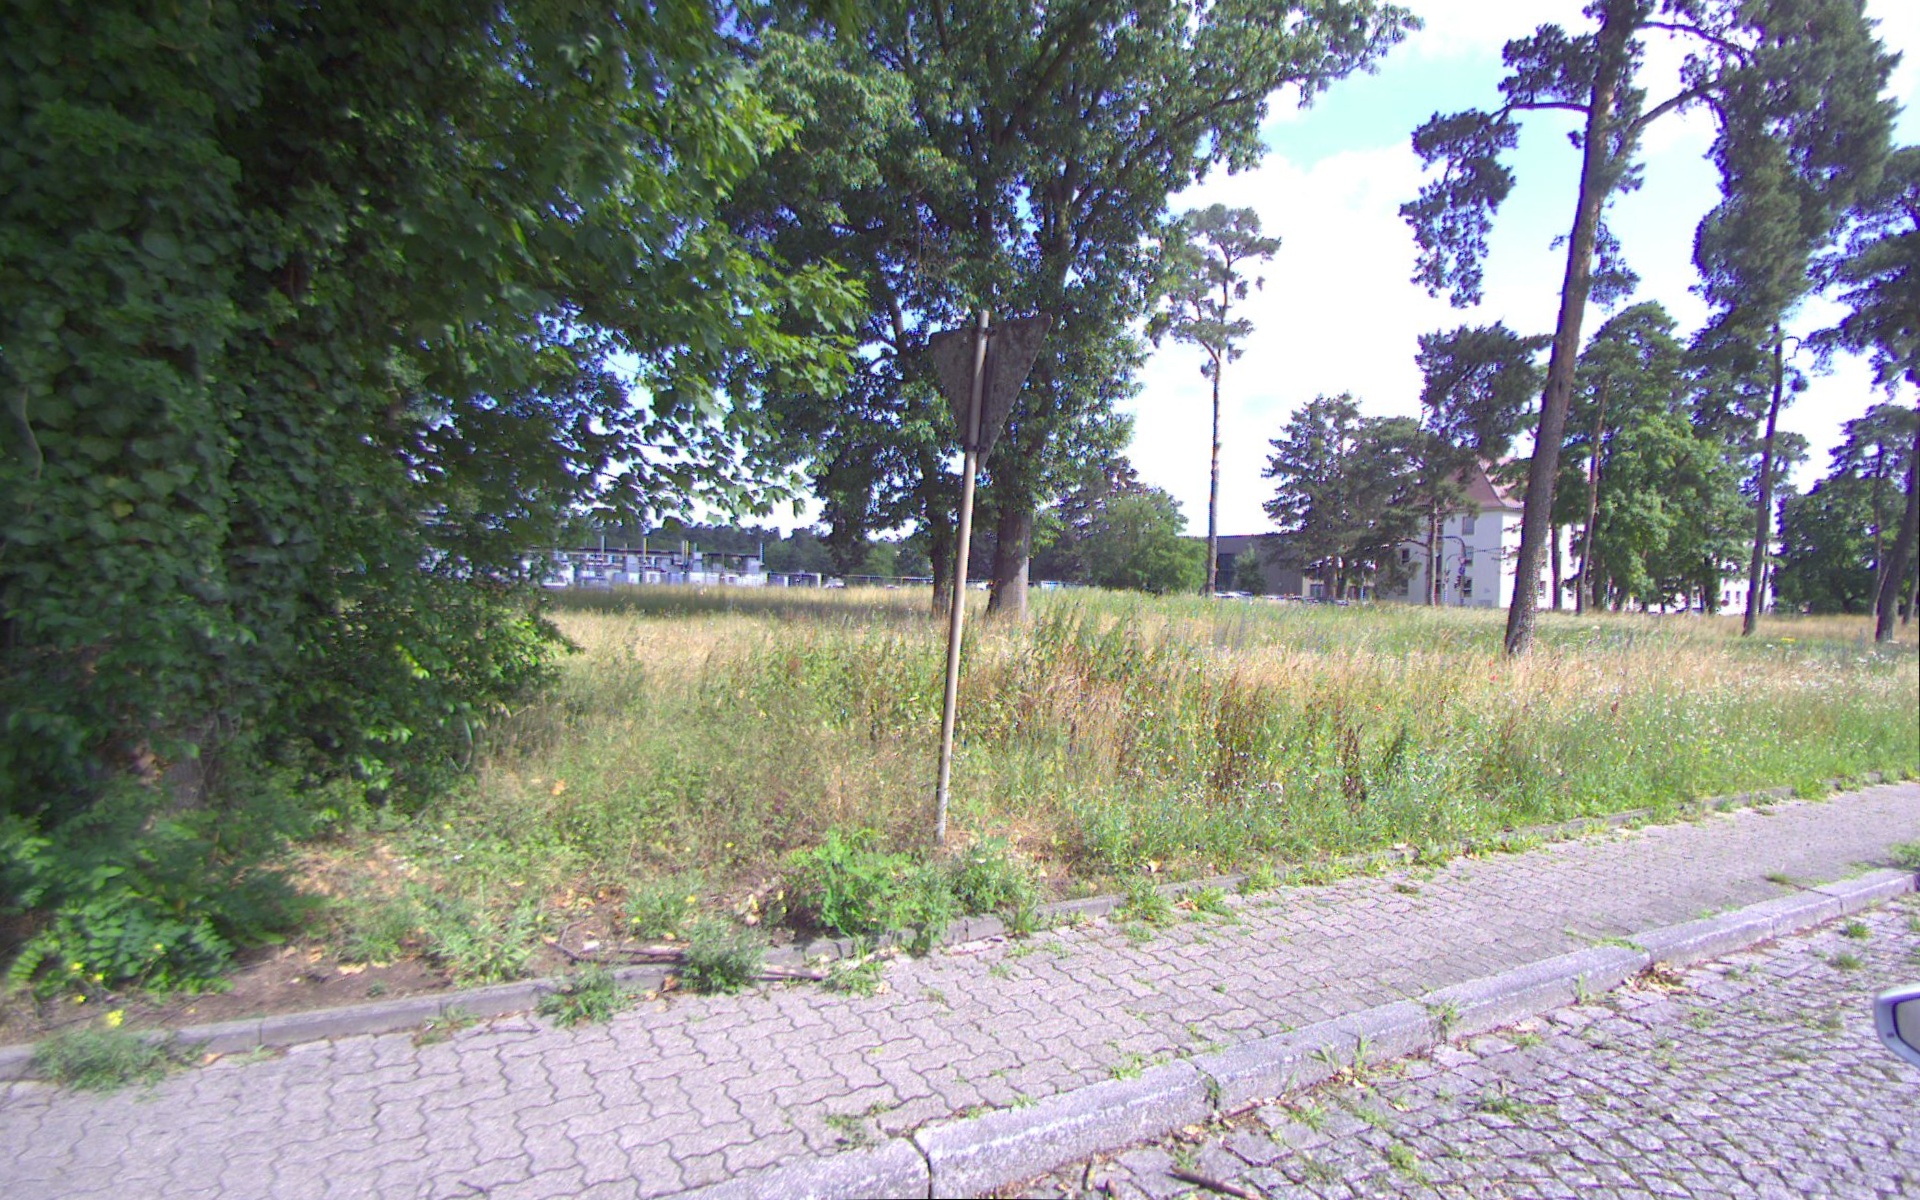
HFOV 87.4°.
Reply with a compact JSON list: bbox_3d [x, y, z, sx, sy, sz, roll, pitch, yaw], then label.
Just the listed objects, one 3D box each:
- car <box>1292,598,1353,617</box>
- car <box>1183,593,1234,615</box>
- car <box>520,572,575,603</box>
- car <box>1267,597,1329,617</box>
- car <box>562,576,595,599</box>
[{"bbox_3d":[26.909,0.563,74.671,1.878,1.327,4.046,1,0,-30],"label":"car"},{"bbox_3d":[20.935,0.322,84.835,1.878,1.725,4.046,1,0,-30],"label":"car"},{"bbox_3d":[-19.993,-0.599,48.598,1.878,1.431,4.038,1,0,-30],"label":"car"},{"bbox_3d":[24.755,0.525,73.704,1.878,1.337,4.046,1,0,-30],"label":"car"},{"bbox_3d":[-30.694,-0.993,80.758,1.878,1.725,4.046,1,0,-30],"label":"car"}]
